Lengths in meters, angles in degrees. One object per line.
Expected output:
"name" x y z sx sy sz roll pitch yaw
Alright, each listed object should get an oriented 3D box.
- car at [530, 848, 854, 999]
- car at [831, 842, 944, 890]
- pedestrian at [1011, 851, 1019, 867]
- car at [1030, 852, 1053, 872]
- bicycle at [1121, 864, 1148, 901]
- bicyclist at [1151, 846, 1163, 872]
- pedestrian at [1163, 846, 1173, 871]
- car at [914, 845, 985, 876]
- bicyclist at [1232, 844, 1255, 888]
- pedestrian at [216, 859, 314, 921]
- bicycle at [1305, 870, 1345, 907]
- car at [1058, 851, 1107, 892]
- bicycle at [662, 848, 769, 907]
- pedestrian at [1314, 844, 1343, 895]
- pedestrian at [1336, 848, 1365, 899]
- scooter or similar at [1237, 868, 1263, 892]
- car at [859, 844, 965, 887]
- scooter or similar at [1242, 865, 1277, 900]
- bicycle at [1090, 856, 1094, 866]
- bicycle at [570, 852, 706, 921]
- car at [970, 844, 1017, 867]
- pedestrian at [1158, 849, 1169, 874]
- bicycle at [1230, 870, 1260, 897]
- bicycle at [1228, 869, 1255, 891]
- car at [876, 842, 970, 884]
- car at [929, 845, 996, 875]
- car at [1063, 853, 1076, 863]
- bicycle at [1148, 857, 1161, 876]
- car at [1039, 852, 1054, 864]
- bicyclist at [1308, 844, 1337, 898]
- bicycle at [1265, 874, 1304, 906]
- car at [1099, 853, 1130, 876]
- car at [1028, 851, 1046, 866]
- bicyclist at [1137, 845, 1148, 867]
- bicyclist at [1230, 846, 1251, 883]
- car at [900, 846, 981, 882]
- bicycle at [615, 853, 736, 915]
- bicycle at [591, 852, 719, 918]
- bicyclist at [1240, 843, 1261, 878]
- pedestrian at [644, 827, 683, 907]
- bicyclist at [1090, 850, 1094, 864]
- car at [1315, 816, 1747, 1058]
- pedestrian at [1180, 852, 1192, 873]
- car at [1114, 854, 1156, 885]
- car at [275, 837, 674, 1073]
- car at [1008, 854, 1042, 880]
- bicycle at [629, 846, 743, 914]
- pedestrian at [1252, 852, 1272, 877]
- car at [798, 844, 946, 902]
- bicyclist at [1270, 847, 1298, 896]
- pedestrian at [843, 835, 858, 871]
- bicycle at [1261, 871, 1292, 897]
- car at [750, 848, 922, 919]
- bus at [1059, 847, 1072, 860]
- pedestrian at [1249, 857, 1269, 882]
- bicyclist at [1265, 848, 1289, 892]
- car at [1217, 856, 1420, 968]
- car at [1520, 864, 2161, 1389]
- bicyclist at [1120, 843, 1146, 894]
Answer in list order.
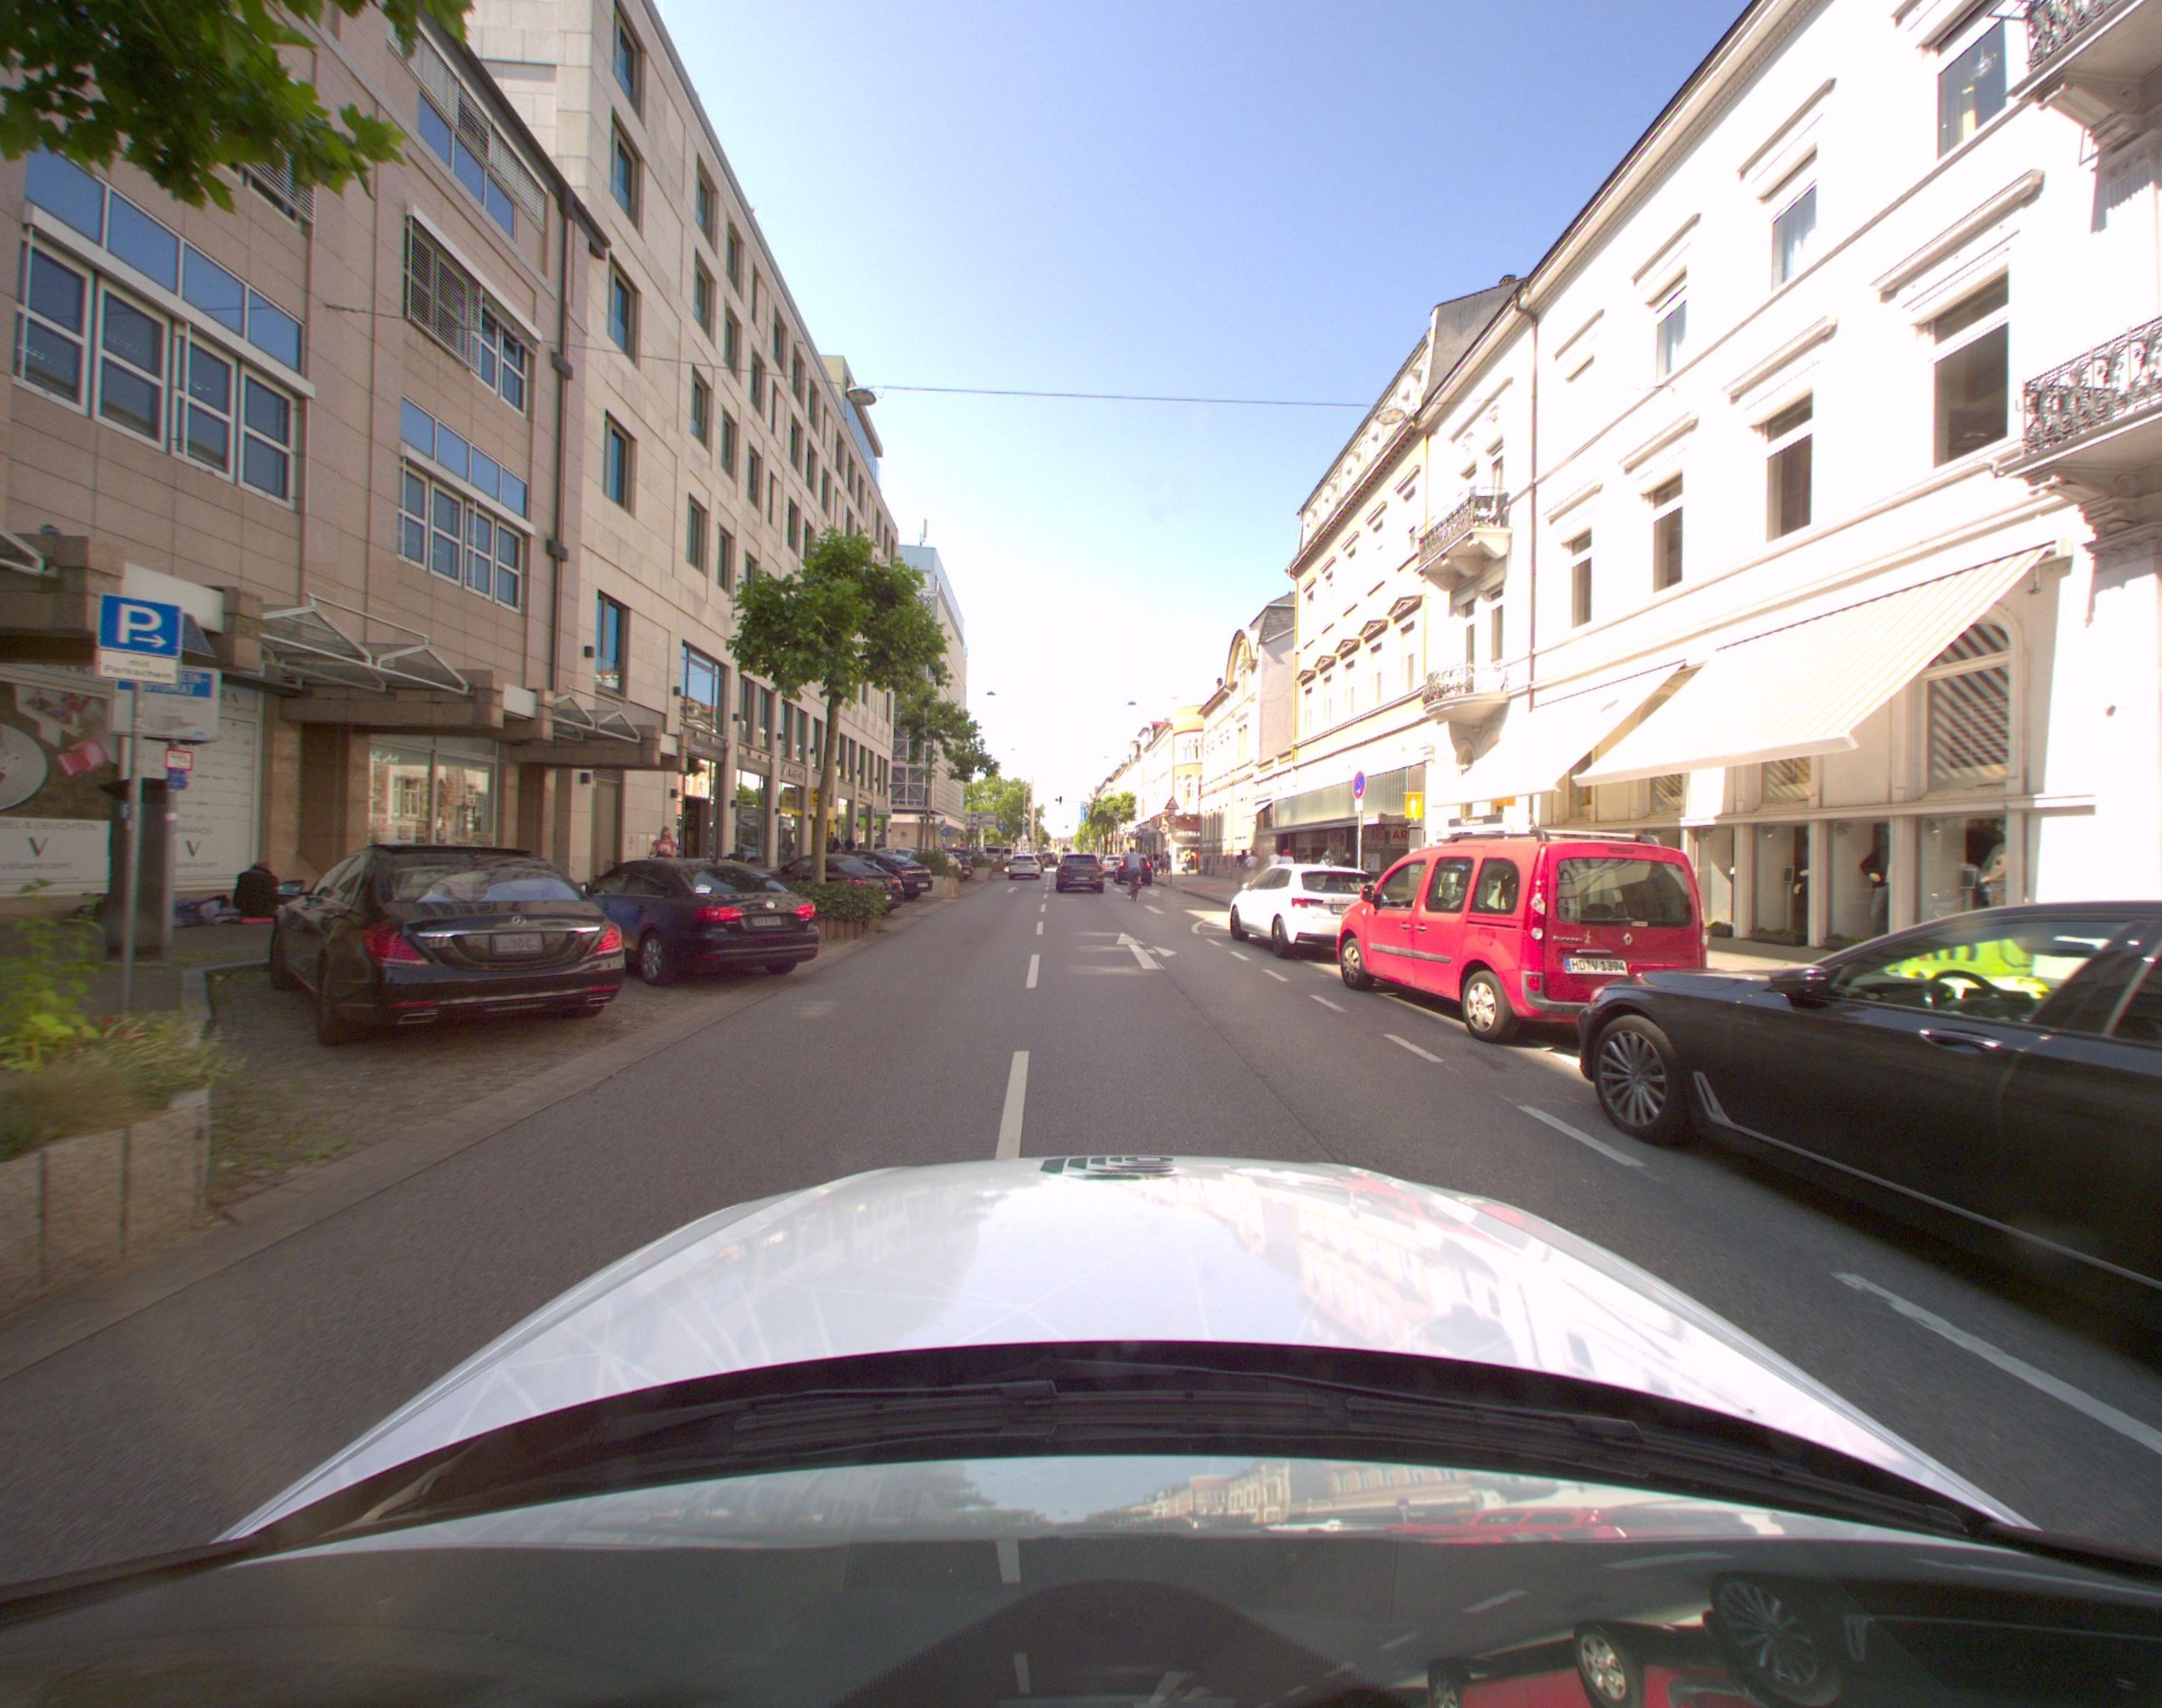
"car" -5.278 0.736 10.758 4.736 1.422 1.895 3 1 38
"car" -7.542 0.451 32.042 3.982 1.500 1.714 5 -1 -6
"pedestrian" -6.385 0.482 79.012 0.616 1.615 0.545 2 -2 -32
"car" -3.035 0.605 63.227 1.739 1.441 3.996 1 0 -2
"bicycle" 1.780 0.930 27.339 0.663 1.120 2.242 3 0 -2
"bicyclist" 4.972 0.339 53.608 0.692 1.674 0.835 1 -3 -1
"pedestrian" 6.358 0.328 59.392 0.650 1.809 0.729 1 0 -1
"car" -7.827 0.402 48.747 3.979 1.500 1.715 5 -1 -4
"bicyclist" 6.016 0.456 30.181 0.630 1.595 0.920 1 -1 0
"pedestrian" -11.861 0.509 11.858 0.564 0.809 0.773 6 0 -2
"bicycle" 7.278 1.007 24.360 0.562 0.996 2.102 1 0 0
"car" 0.000 0.642 32.419 1.828 1.527 3.997 0 0 -2
"bicycle" -8.267 0.531 18.526 2.070 1.219 0.755 4 -1 -18
"pedestrian" 8.544 0.533 28.136 0.872 1.718 0.838 0 -1 11
"pedestrian" 9.016 0.650 27.285 0.645 1.684 0.944 1 0 -1
"scooter or similar" 6.891 1.061 33.249 0.850 0.919 1.164 1 0 0
"car" -7.225 0.483 34.921 3.958 1.490 1.790 5 0 15
"scooter or similar" 6.126 0.958 28.012 0.868 1.122 1.620 0 0 0
"bicycle" 1.316 0.827 95.274 0.418 1.135 1.910 1 0 0
"bicycle" -8.062 0.588 14.876 2.059 1.130 0.617 3 -1 -2
"car" -9.209 0.128 85.568 4.664 2.003 1.953 4 -1 38
"pedestrian" 6.274 0.560 62.108 0.706 1.899 1.153 1 0 1
"bicycle" 6.033 1.072 30.060 0.644 0.879 2.389 1 1 0
"bicycle" 6.874 1.120 34.940 0.737 0.879 2.137 1 0 0
"car" -7.459 0.428 38.440 3.953 1.568 1.709 6 0 23
"car" -7.541 0.402 52.191 3.979 1.545 1.715 5 -1 -4
"car" -1.740 0.526 120.953 1.858 1.441 3.996 1 0 -3
"bicycle" 4.861 0.811 53.813 0.553 1.120 2.242 3 0 -2
"car" -4.066 0.453 96.273 1.739 1.441 3.996 1 0 -2
"bicyclist" 7.267 0.511 24.545 0.580 1.595 0.920 1 0 0
"bicycle" 6.209 1.084 24.926 0.645 0.879 2.102 1 0 0
"car" 2.214 0.669 54.473 1.817 1.385 3.999 1 1 -1
"car" -4.252 0.421 79.375 1.739 1.441 3.996 1 0 -2
"bicyclist" 4.692 0.149 62.221 0.692 1.673 0.835 3 1 -1
"bicyclist" 6.865 0.441 34.986 0.707 1.595 0.963 1 0 0
"car" -7.214 0.503 41.721 3.950 1.459 1.680 6 0 35
"bicycle" -8.138 0.599 16.392 2.065 1.130 0.462 3 -1 -10
"bicycle" -8.153 0.590 15.638 2.065 1.130 0.462 3 -1 -10
"bicyclist" 6.074 0.237 29.214 0.621 1.248 0.607 1 0 0
"pedestrian" -8.832 0.277 17.247 0.566 1.657 0.634 1 0 -11
"bicyclist" 1.323 0.299 95.202 0.418 1.630 0.709 1 0 0
"car" 4.215 0.657 8.619 1.824 1.863 4.346 2 0 -6
"pedestrian" 8.334 0.671 64.807 0.790 1.720 0.728 0 0 -7
"car" 2.756 0.789 42.193 1.817 1.409 3.185 3 1 -1
"car" -5.981 0.670 7.783 4.697 1.533 2.003 2 0 40
"car" -3.221 0.707 47.251 1.859 1.441 3.996 0 0 -3
"bicycle" -8.257 0.550 17.075 2.065 1.288 0.366 4 -1 -10
"pedestrian" 9.448 0.555 42.562 0.932 1.269 0.568 -2 0 4
"car" -6.579 0.561 25.603 4.301 1.513 1.844 3 0 28
"bicyclist" 6.213 0.516 24.899 0.623 1.476 0.889 1 0 0
"pedestrian" -12.864 -0.044 45.410 0.622 2.013 0.700 0 0 -1
"bicycle" 7.207 1.084 30.101 0.645 0.879 2.102 1 0 0
"car" -6.209 0.673 20.367 4.593 1.408 1.918 3 1 41
"bus" -4.181 -0.118 220.489 2.765 3.605 8.958 1 0 -5
"pedestrian" 9.494 0.818 43.373 0.932 1.269 0.568 -2 0 4
"bicyclist" 7.221 0.576 30.088 0.656 1.595 0.920 1 0 0
"car" 3.826 0.847 14.059 1.810 1.466 4.573 3 1 -5
"car" 4.045 0.842 3.070 1.854 1.470 5.223 3 0 -1
"bicyclist" 1.736 0.473 27.309 0.692 1.673 0.915 3 1 -1
